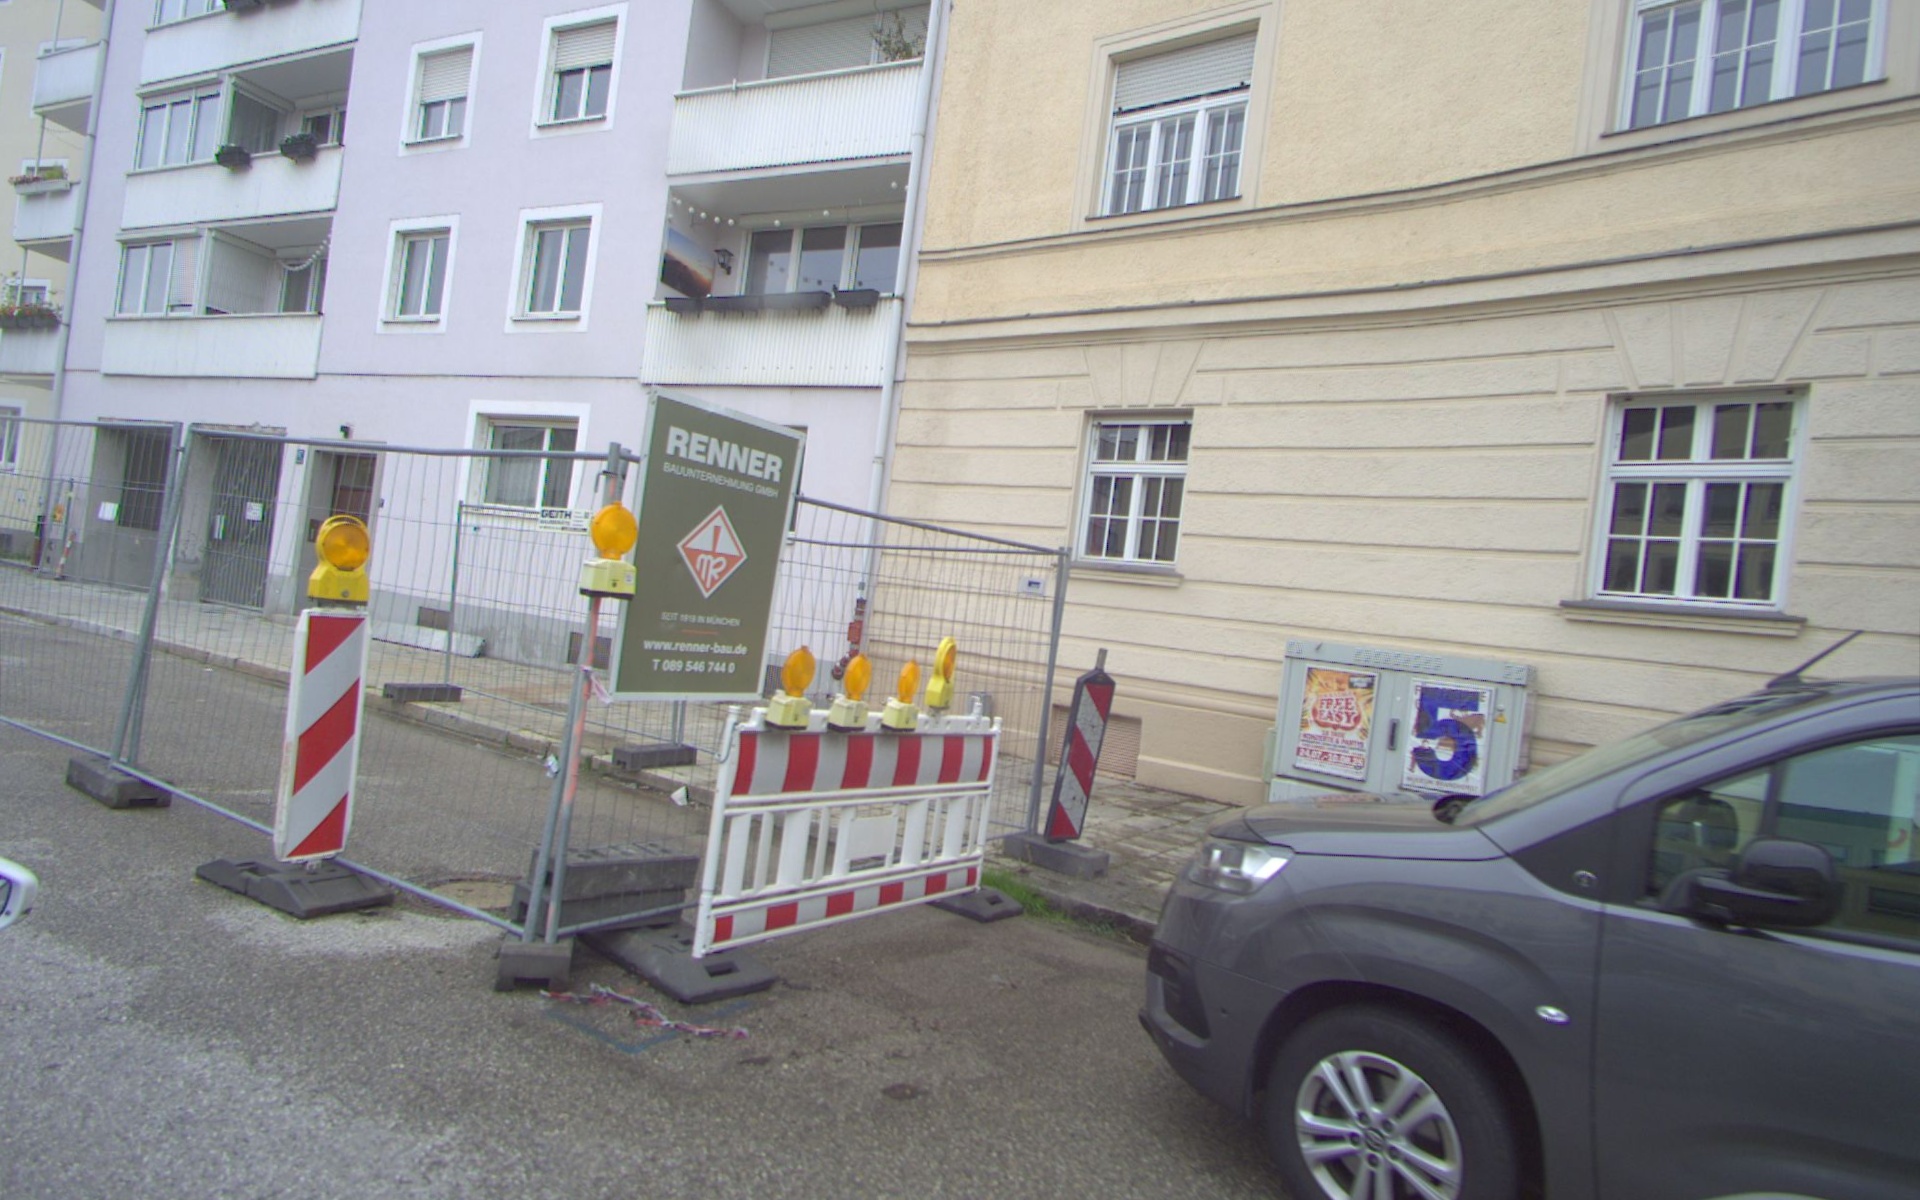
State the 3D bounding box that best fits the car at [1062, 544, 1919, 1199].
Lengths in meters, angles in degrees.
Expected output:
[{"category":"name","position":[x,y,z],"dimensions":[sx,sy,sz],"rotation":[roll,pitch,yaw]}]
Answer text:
[{"category":"car","position":[2.655,1.045,2.701],"dimensions":[4.207,1.827,1.781],"rotation":[7,-3,34]}]
